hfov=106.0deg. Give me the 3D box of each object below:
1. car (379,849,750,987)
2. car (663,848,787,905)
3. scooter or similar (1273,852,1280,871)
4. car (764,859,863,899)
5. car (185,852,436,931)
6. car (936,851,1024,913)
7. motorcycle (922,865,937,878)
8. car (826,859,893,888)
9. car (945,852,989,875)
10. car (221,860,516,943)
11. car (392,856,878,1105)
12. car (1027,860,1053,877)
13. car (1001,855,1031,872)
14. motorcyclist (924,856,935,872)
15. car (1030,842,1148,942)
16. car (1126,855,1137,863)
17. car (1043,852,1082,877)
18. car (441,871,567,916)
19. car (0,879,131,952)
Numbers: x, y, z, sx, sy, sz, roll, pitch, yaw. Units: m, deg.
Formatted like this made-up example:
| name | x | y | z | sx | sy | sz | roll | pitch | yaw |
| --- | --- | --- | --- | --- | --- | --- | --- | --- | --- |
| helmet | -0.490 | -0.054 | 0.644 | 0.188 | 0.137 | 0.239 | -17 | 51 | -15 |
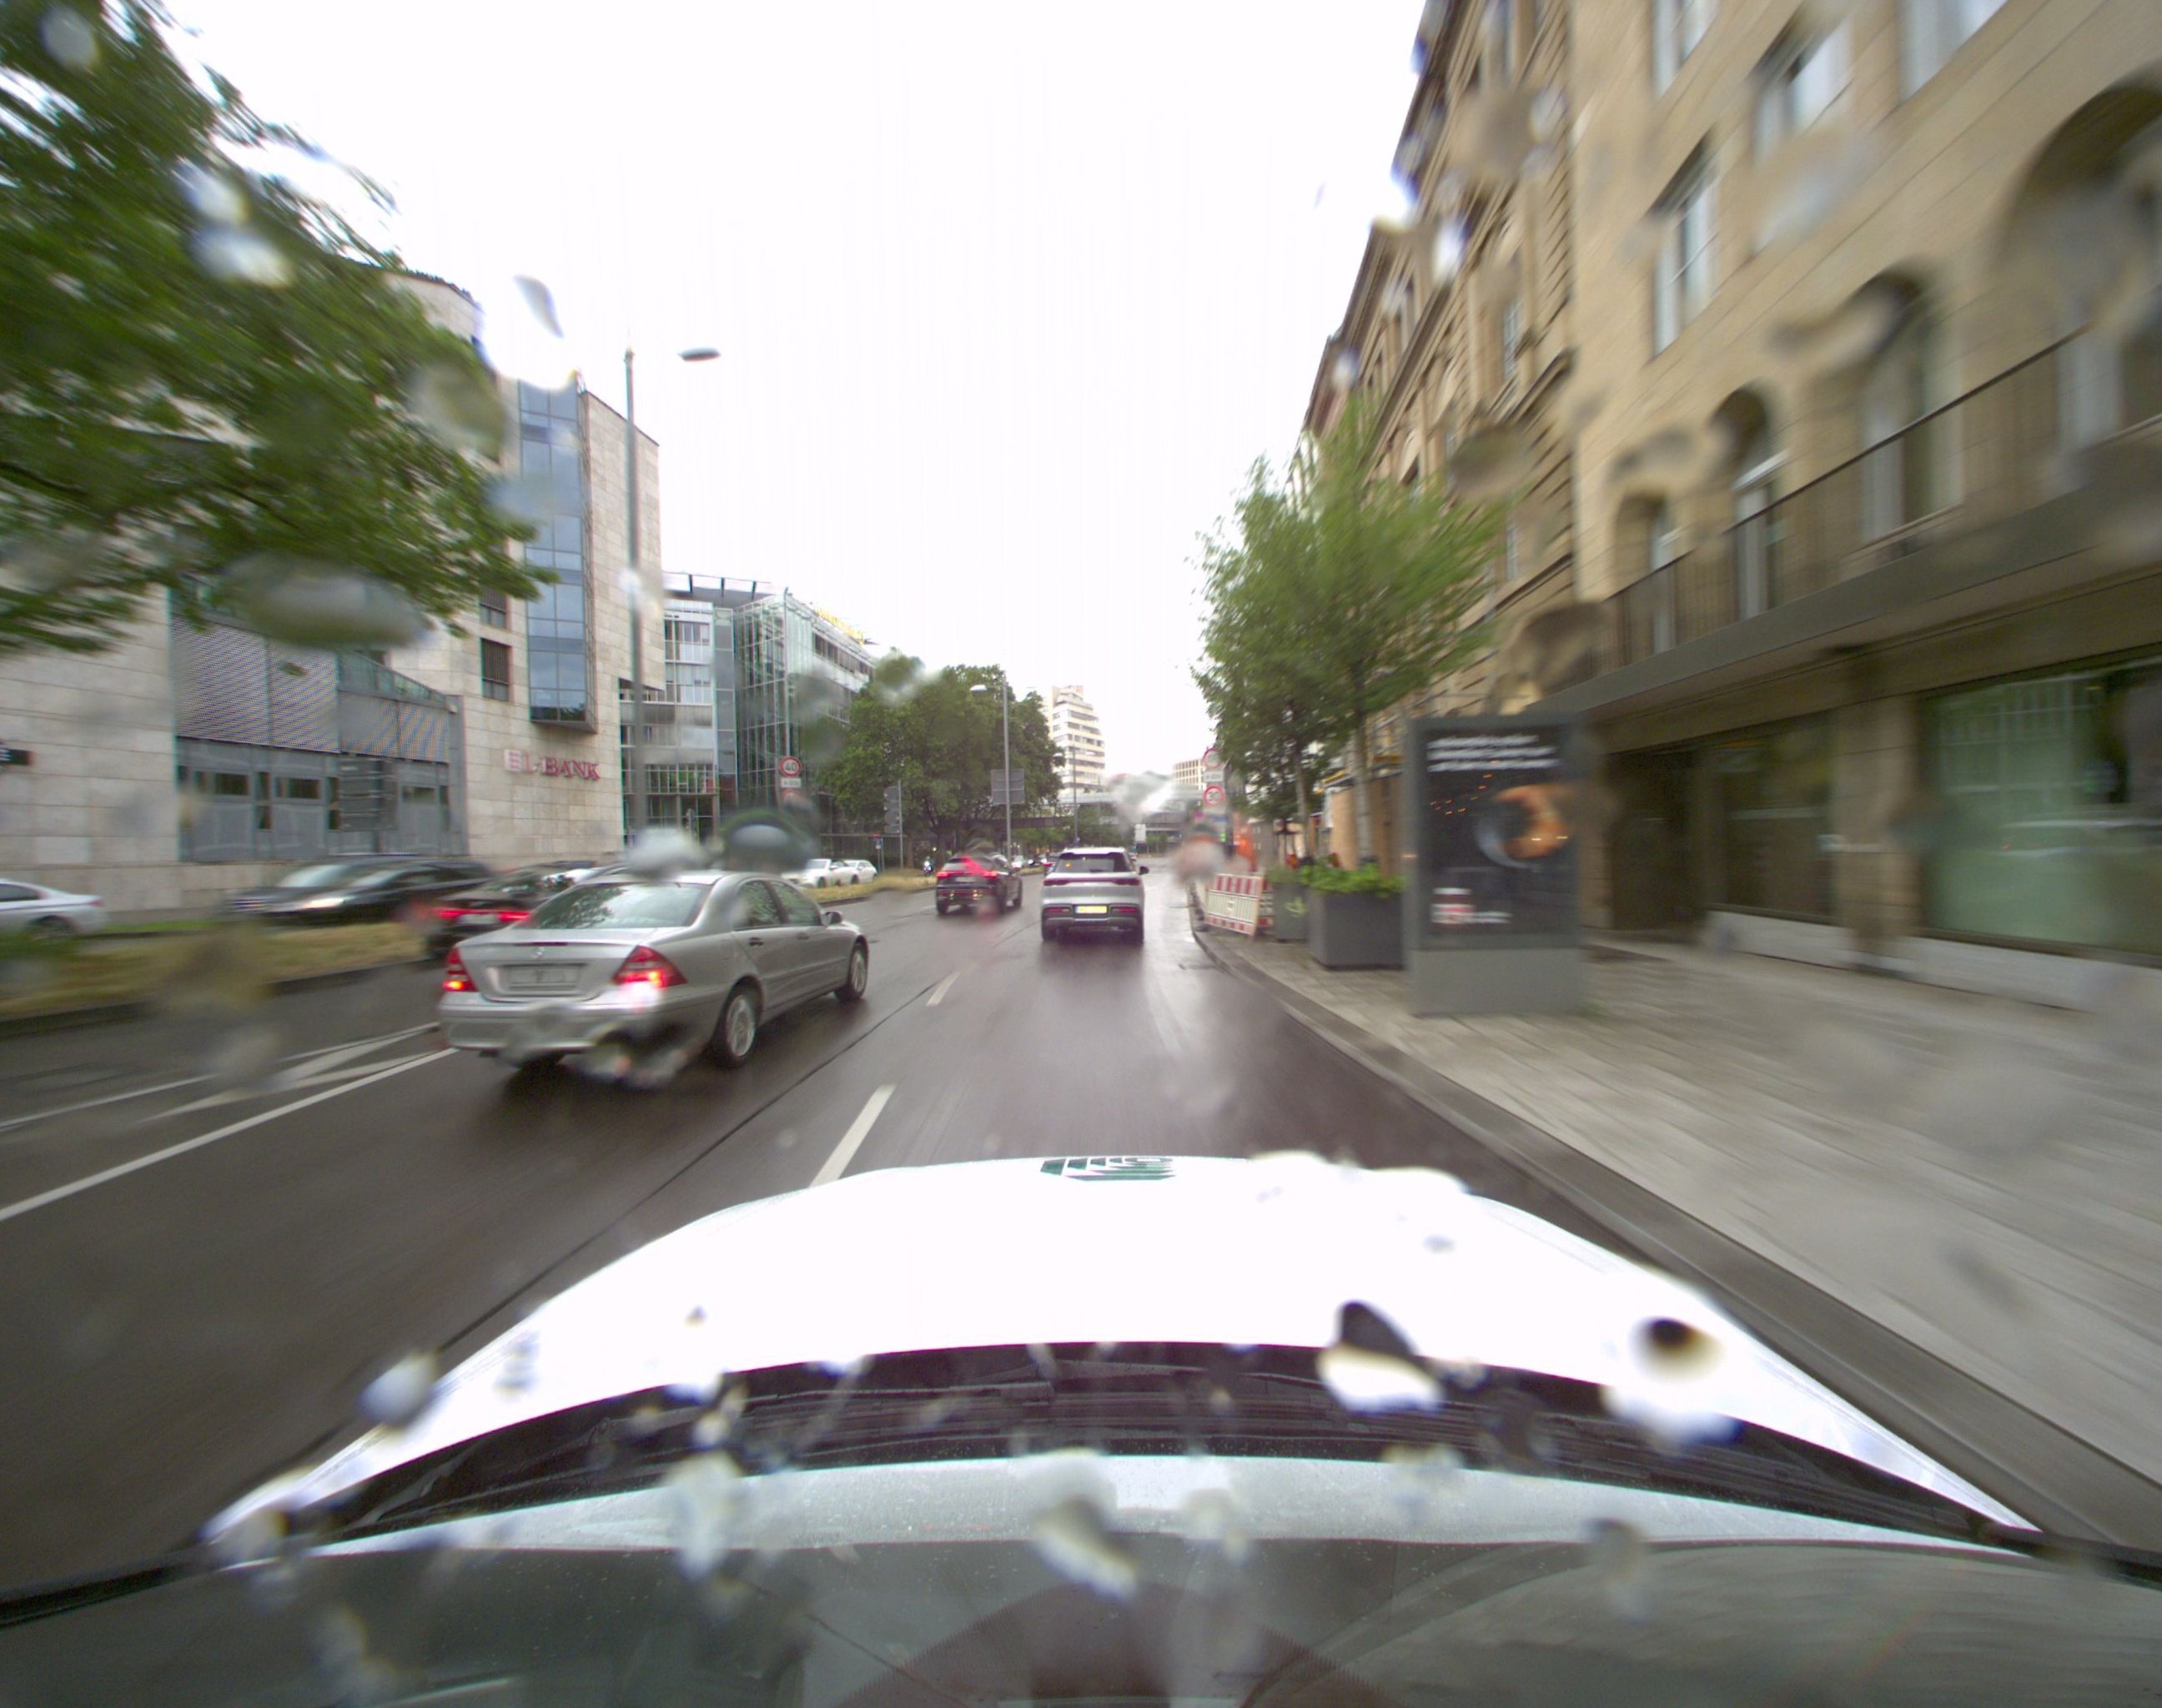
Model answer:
| name | x | y | z | sx | sy | sz | roll | pitch | yaw |
| --- | --- | --- | --- | --- | --- | --- | --- | --- | --- |
| car | -7.129 | 0.756 | 12.077 | 1.862 | 1.479 | 4.889 | -2 | 1 | 7 |
| car | -13.671 | 0.851 | 31.700 | 1.819 | 2.002 | 5.118 | -1 | -1 | 10 |
| scooter or similar | 12.749 | 0.496 | 53.095 | 0.408 | 1.236 | 1.194 | -1 | 0 | 16 |
| car | -10.420 | 0.938 | 32.105 | 1.849 | 1.442 | 4.325 | -1 | -1 | 10 |
| car | -18.018 | 0.828 | 19.362 | 1.822 | 1.639 | 4.098 | -1 | -1 | 6 |
| car | -2.590 | 0.702 | 21.677 | 1.768 | 1.457 | 4.000 | -1 | -1 | 1 |
| motorcycle | -11.966 | 1.383 | 64.434 | 0.690 | 0.970 | 1.400 | -1 | 0 | 8 |
| car | -11.914 | 1.041 | 44.037 | 1.716 | 1.432 | 4.408 | -1 | -1 | 10 |
| car | -7.520 | 0.638 | 54.000 | 1.691 | 1.437 | 4.591 | -1 | -1 | 7 |
| car | -13.293 | 0.829 | 15.553 | 1.735 | 1.365 | 3.956 | -1 | -1 | 12 |
| car | -3.249 | 0.785 | 7.105 | 1.665 | 1.479 | 4.363 | -1 | -1 | 3 |
| car | -4.190 | 1.516 | 84.085 | 1.864 | 1.680 | 4.689 | -1 | -1 | 7 |
| car | -5.422 | 0.765 | 68.538 | 1.587 | 1.360 | 4.127 | -1 | -1 | 9 |
| motorcyclist | -11.967 | 0.821 | 64.462 | 0.671 | 1.238 | 0.621 | -1 | 0 | 8 |
| car | 0.284 | 0.637 | 15.412 | 1.892 | 1.621 | 4.005 | -1 | -1 | 5 |
| car | 9.334 | 0.962 | 149.638 | 1.644 | 1.342 | 4.010 | -1 | 0 | 9 |
| car | -1.152 | 0.665 | 52.780 | 1.800 | 1.578 | 4.011 | -1 | 0 | 10 |
| car | -20.152 | 1.335 | 28.600 | 1.582 | 1.416 | 3.412 | -1 | -1 | 11 |
| car | -22.442 | 1.268 | 15.954 | 1.736 | 1.416 | 4.720 | -1 | -1 | 12 |
